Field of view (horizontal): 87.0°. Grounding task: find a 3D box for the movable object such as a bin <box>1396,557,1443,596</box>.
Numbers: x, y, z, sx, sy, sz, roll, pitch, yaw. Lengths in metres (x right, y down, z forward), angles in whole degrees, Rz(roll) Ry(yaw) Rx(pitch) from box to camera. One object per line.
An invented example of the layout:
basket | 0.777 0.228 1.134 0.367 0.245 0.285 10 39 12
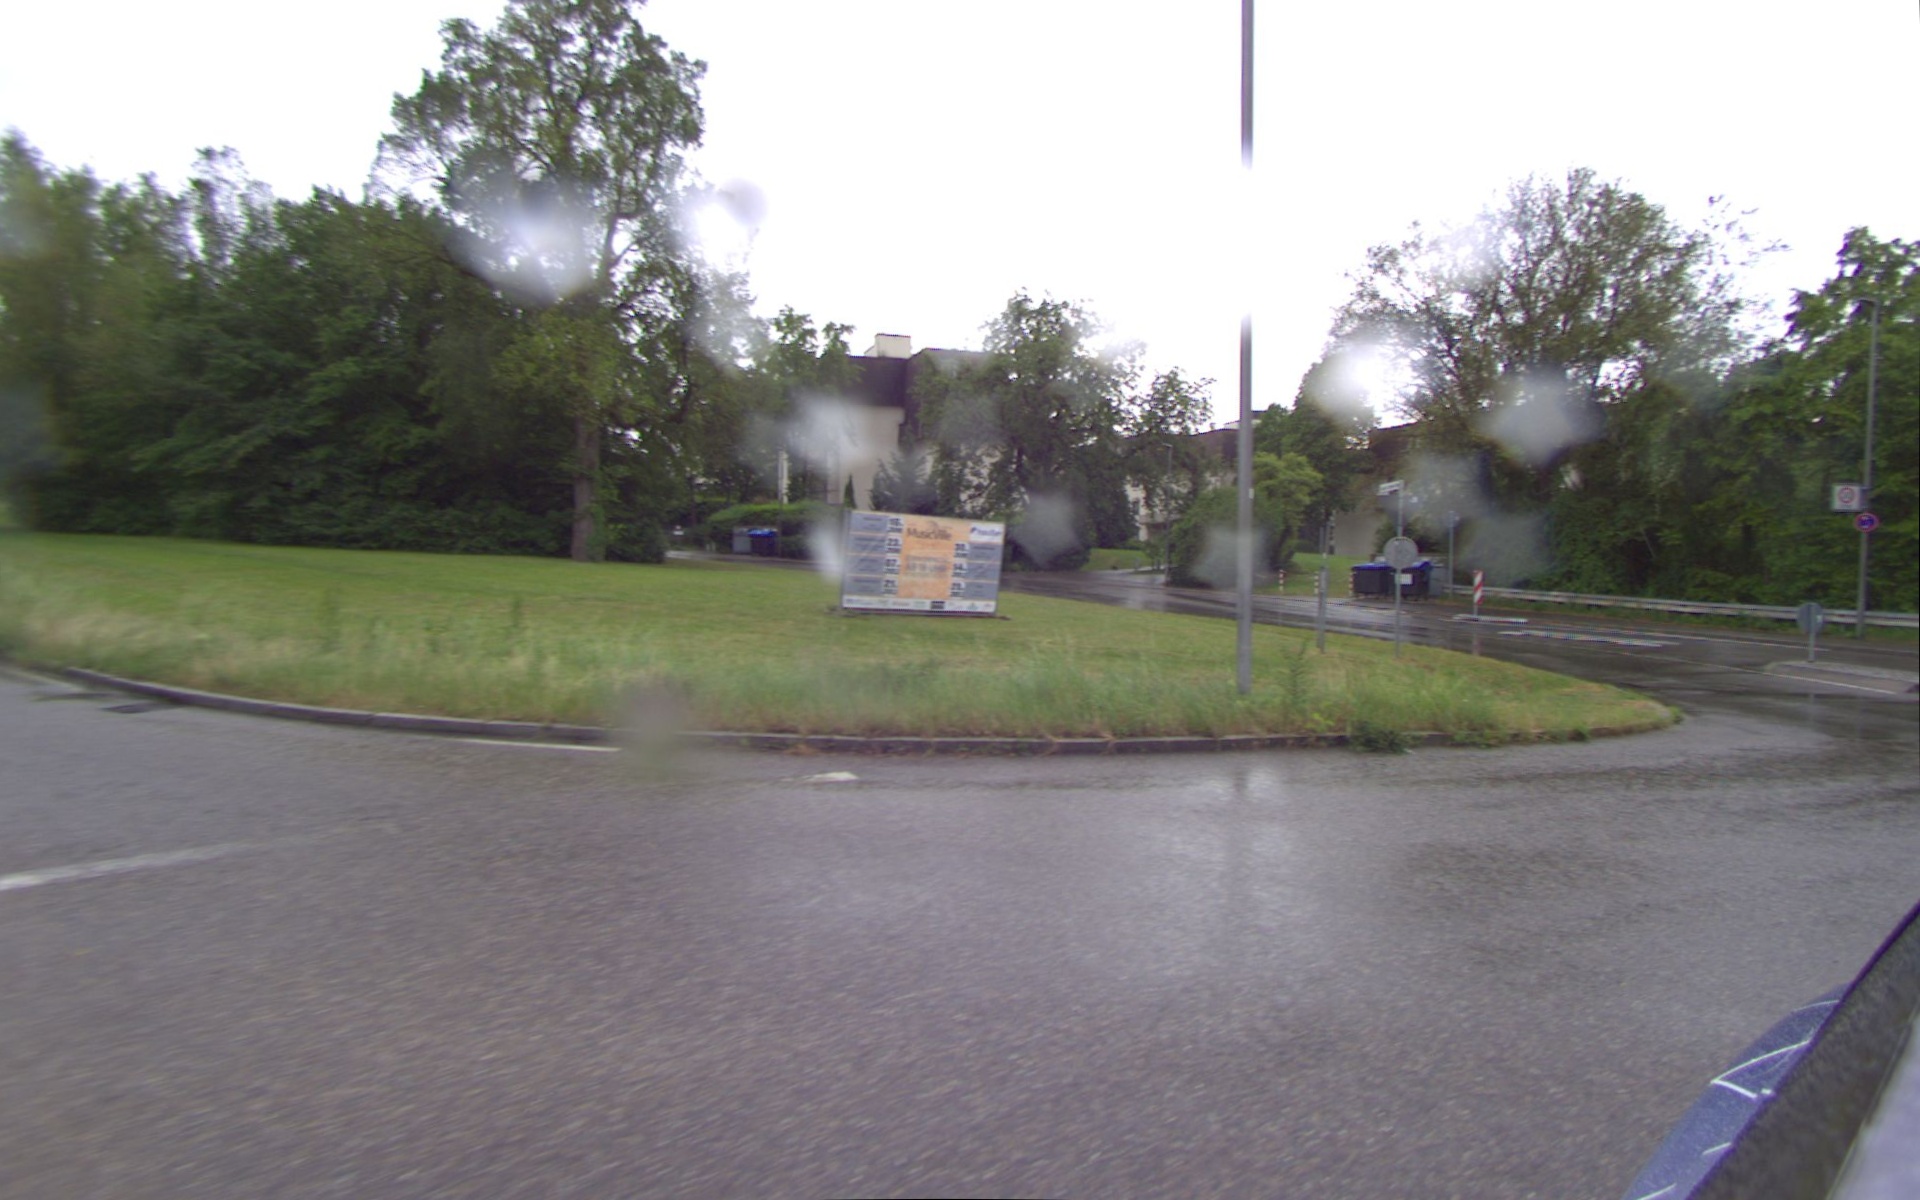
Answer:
movable object such as a bin | 16.874 -0.882 37.175 1.174 1.357 1.076 -3 5 -30

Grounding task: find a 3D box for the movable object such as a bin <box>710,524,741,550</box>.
movable object such as a bin | -13.725 -3.683 59.218 1.424 1.454 1.179 4 4 44

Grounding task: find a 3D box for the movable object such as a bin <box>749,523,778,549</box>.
movable object such as a bin | -11.076 -3.627 57.017 1.072 1.454 1.179 4 5 44

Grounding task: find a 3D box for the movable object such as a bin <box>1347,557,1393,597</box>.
movable object such as a bin | 15.518 -0.900 38.315 1.174 1.454 1.077 -2 4 -30
